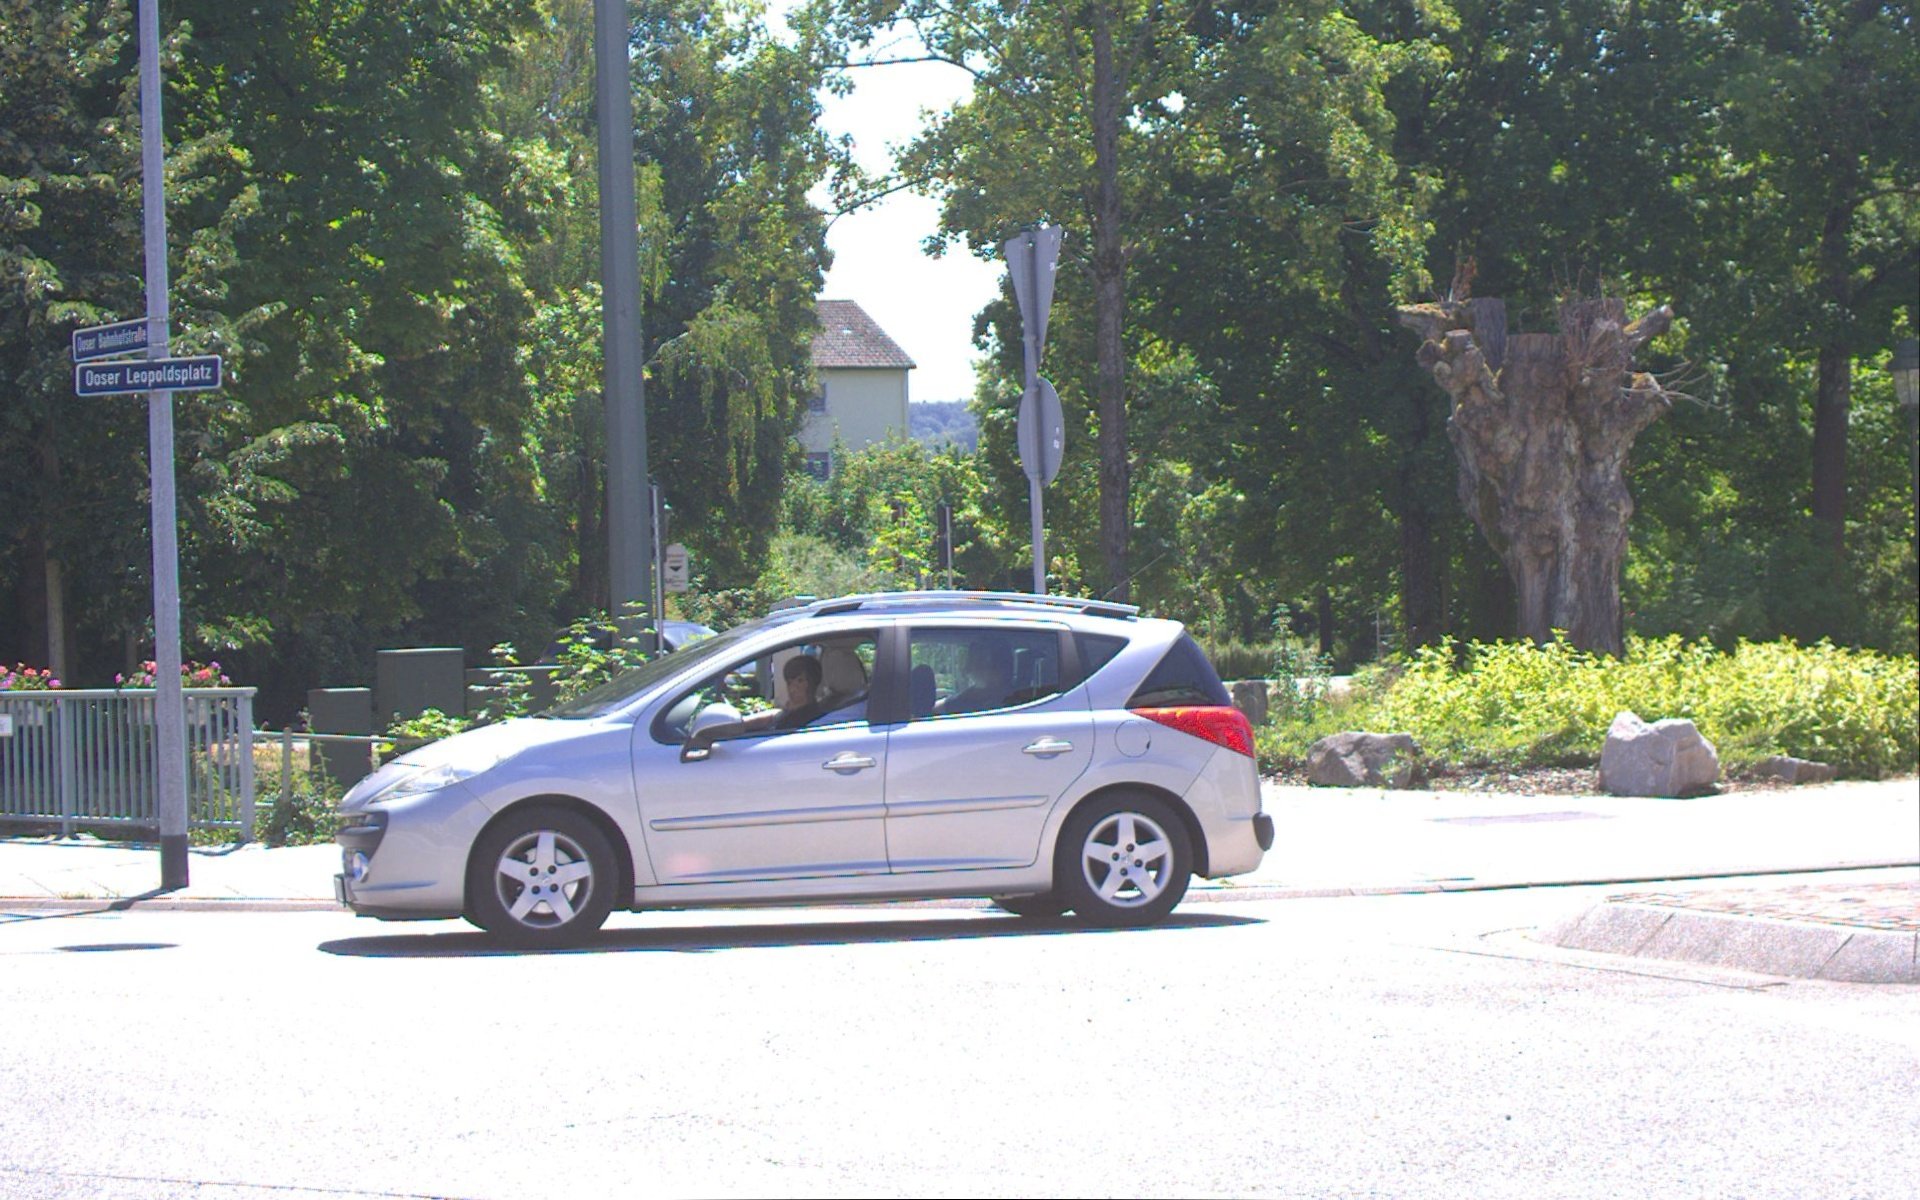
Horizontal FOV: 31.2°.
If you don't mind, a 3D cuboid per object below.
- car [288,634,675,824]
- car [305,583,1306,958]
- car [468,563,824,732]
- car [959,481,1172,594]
[{"bbox_3d":[-4.352,1.142,31.416,3.050,1.547,1.634,-2,0,-39],"label":"car"},{"bbox_3d":[-0.742,0.718,15.419,4.193,1.511,1.746,0,-2,-15],"label":"car"},{"bbox_3d":[-3.991,0.601,43.670,3.992,2.007,1.997,-2,0,25],"label":"car"},{"bbox_3d":[2.029,-1.197,66.509,3.987,2.007,2.000,-2,0,1],"label":"car"}]
